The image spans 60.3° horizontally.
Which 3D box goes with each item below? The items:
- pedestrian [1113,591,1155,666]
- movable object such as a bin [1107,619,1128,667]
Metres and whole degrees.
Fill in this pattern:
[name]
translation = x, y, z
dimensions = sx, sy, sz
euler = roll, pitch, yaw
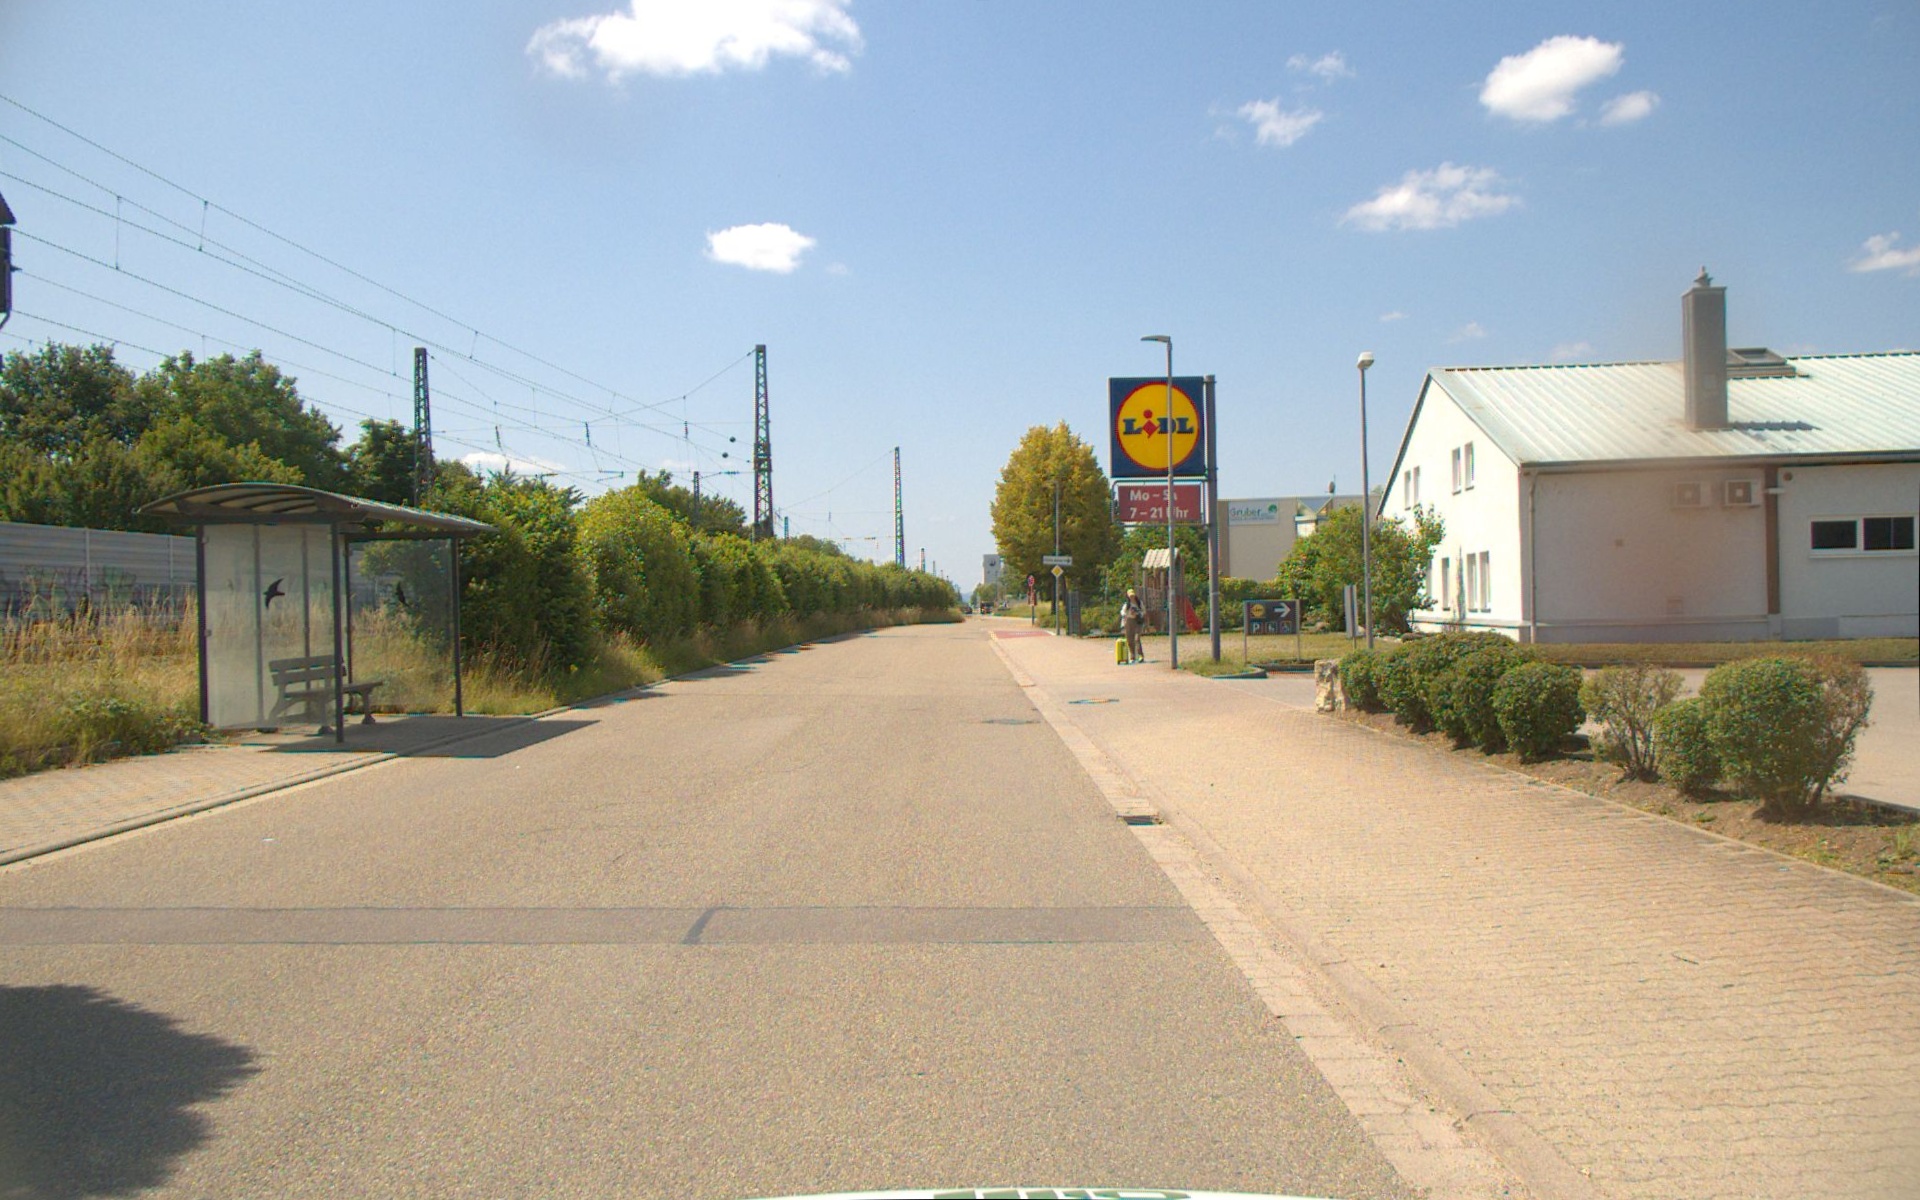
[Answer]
[pedestrian]
translation = 3.882, 0.631, 36.971
dimensions = 0.746, 1.630, 1.209
euler = -1, 0, -3
[movable object such as a bin]
translation = 3.475, 0.943, 36.470
dimensions = 0.367, 1.047, 0.498
euler = -2, 0, -3
